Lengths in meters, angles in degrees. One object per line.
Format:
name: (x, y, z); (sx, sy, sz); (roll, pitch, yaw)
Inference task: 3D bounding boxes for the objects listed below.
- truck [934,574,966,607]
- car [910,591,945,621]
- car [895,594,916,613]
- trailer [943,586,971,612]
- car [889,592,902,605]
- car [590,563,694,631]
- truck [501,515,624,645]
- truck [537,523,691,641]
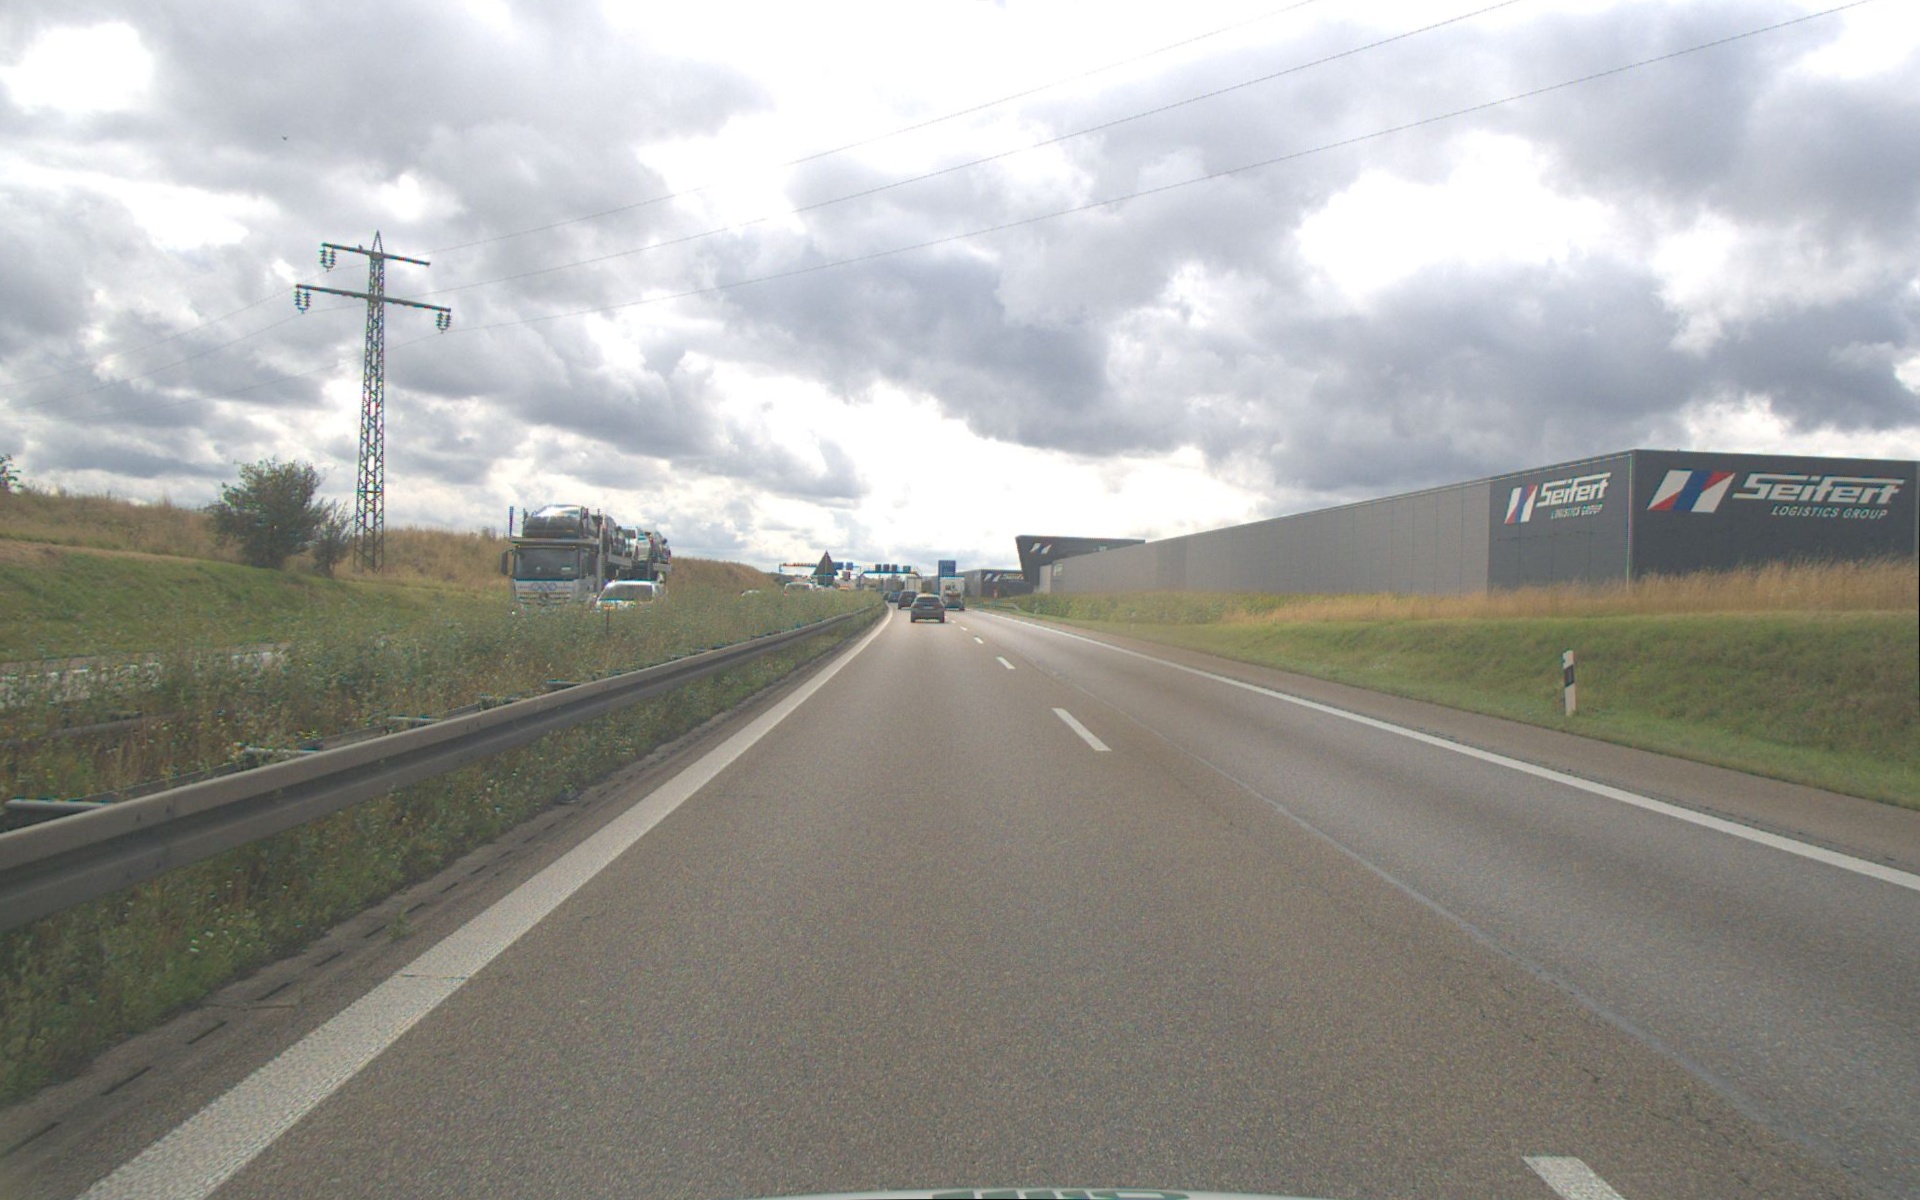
truck: (-0.954, -0.859, 152.449); (2.434, 3.002, 5.808); (1, 0, -5)
car: (-1.735, 0.323, 87.077); (1.711, 1.478, 3.998); (1, 0, -3)
car: (-5.095, 0.362, 154.011); (1.907, 1.714, 3.997); (1, 0, -3)
trailer: (-0.273, -0.101, 145.603); (2.292, 2.173, 3.997); (1, 0, -3)
car: (-9.468, -0.185, 243.440); (1.904, 1.806, 3.695); (1, 0, -2)
car: (-8.455, -0.077, 44.373); (1.953, 1.691, 4.301); (1, 0, 0)
truck: (-12.879, -0.622, 54.074); (2.668, 4.005, 5.985); (0, 0, -1)
truck: (-13.165, -0.648, 64.850); (2.668, 4.005, 17.397); (0, 0, -1)
